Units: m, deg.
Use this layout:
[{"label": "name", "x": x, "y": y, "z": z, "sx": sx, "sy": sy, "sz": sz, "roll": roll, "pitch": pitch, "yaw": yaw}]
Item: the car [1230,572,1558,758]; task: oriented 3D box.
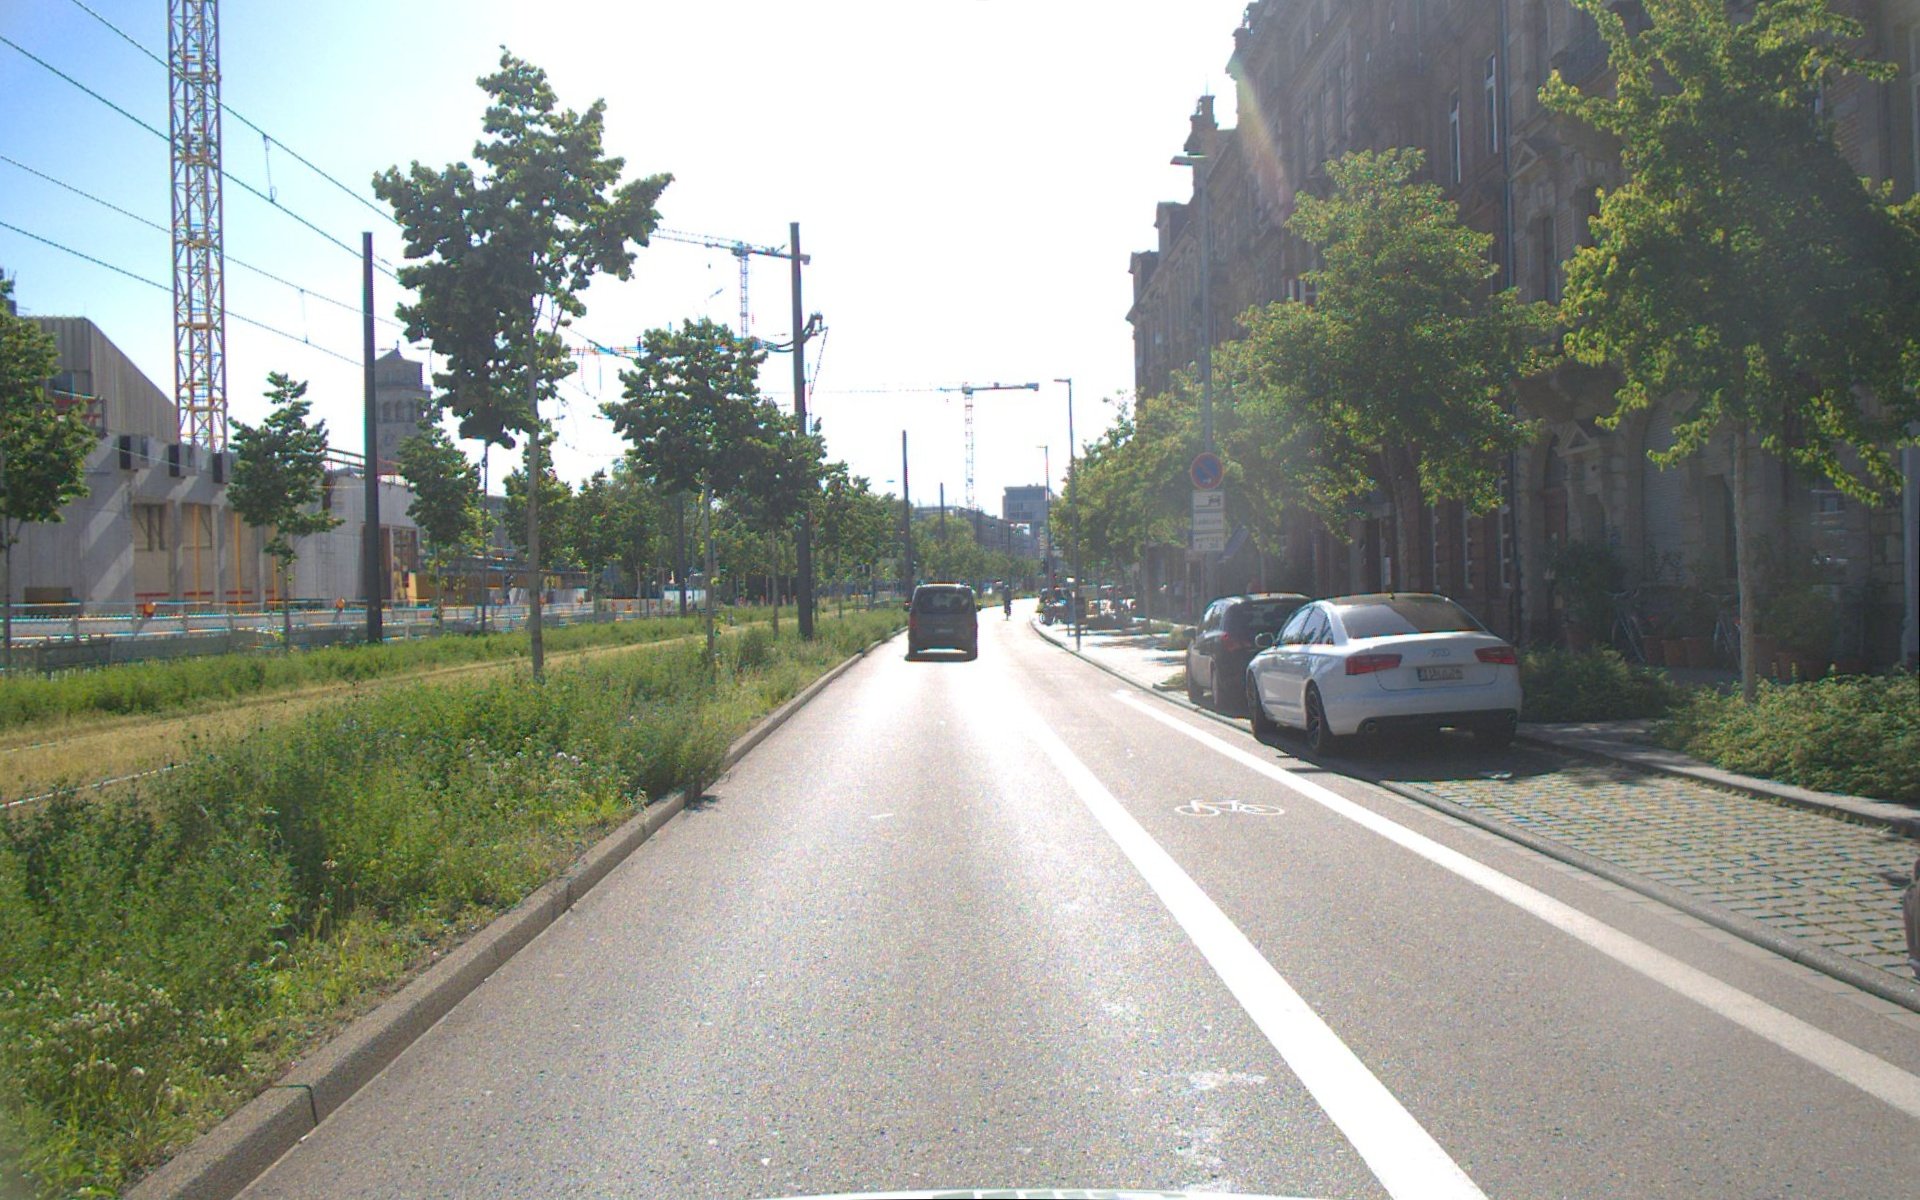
[{"label": "car", "x": 4.216, "y": 0.565, "z": 17.023, "sx": 1.912, "sy": 1.521, "sz": 5.104, "roll": -3, "pitch": 0, "yaw": -1}]

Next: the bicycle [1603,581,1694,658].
[{"label": "bicycle", "x": 10.481, "y": 0.281, "z": 25.250, "sx": 0.471, "sy": 1.109, "sz": 2.056, "roll": -2, "pitch": 0, "yaw": -1}]

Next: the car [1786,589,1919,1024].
[{"label": "car", "x": 4.271, "y": 0.663, "z": 4.315, "sx": 1.731, "sy": 1.502, "sz": 4.445, "roll": -4, "pitch": 0, "yaw": -3}]

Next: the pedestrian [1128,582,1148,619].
[{"label": "pedestrian", "x": 8.725, "y": 0.017, "z": 80.943, "sx": 0.827, "sy": 1.772, "sz": 0.886, "roll": -2, "pitch": -1, "yaw": 0}]

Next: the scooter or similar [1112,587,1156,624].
[{"label": "scooter or similar", "x": 6.402, "y": 0.200, "z": 60.830, "sx": 1.445, "sy": 1.237, "sz": 0.601, "roll": -4, "pitch": 1, "yaw": -5}]

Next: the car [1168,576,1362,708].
[{"label": "car", "x": 4.262, "y": 0.563, "z": 23.759, "sx": 1.846, "sy": 1.597, "sz": 4.219, "roll": -4, "pitch": 0, "yaw": -1}]

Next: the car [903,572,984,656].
[{"label": "car", "x": -0.438, "y": 0.320, "z": 42.550, "sx": 1.953, "sy": 2.049, "sz": 3.999, "roll": 0, "pitch": 0, "yaw": -1}]

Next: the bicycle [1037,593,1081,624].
[{"label": "bicycle", "x": 4.450, "y": 0.379, "z": 74.395, "sx": 1.843, "sy": 1.255, "sz": 0.499, "roll": -4, "pitch": 0, "yaw": -7}]

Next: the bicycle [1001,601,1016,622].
[{"label": "bicycle", "x": 2.636, "y": 0.627, "z": 89.967, "sx": 0.687, "sy": 1.110, "sz": 2.277, "roll": -1, "pitch": 0, "yaw": -1}]

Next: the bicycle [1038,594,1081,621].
[{"label": "bicycle", "x": 4.556, "y": 0.333, "z": 75.932, "sx": 1.790, "sy": 1.097, "sz": 0.664, "roll": -4, "pitch": 0, "yaw": -7}]

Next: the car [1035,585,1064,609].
[{"label": "car", "x": 6.322, "y": -0.207, "z": 116.599, "sx": 1.946, "sy": 1.666, "sz": 4.191, "roll": 0, "pitch": 0, "yaw": 4}]

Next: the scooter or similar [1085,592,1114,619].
[{"label": "scooter or similar", "x": 6.037, "y": 0.238, "z": 71.567, "sx": 1.194, "sy": 1.125, "sz": 0.783, "roll": -3, "pitch": 1, "yaw": 2}]

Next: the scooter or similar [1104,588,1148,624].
[{"label": "scooter or similar", "x": 6.173, "y": 0.207, "z": 61.586, "sx": 1.447, "sy": 1.237, "sz": 0.600, "roll": -4, "pitch": 1, "yaw": -11}]

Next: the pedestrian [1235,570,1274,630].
[{"label": "pedestrian", "x": 8.722, "y": -0.005, "z": 48.950, "sx": 0.976, "sy": 1.762, "sz": 0.866, "roll": 0, "pitch": -1, "yaw": -1}]

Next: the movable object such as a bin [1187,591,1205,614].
[{"label": "movable object such as a bin", "x": 9.918, "y": 0.098, "z": 69.432, "sx": 0.592, "sy": 0.932, "sz": 0.650, "roll": -1, "pitch": 0, "yaw": -5}]

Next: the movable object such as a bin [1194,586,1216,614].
[{"label": "movable object such as a bin", "x": 9.809, "y": -0.008, "z": 66.247, "sx": 0.711, "sy": 1.117, "sz": 0.747, "roll": -1, "pitch": 0, "yaw": -5}]

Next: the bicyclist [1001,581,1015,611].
[{"label": "bicyclist", "x": 2.609, "y": -0.209, "z": 89.955, "sx": 0.669, "sy": 1.612, "sz": 0.839, "roll": -1, "pitch": 0, "yaw": -1}]

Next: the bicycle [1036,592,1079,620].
[{"label": "bicycle", "x": 4.554, "y": 0.298, "z": 77.448, "sx": 1.879, "sy": 1.140, "sz": 0.664, "roll": -5, "pitch": 0, "yaw": -7}]

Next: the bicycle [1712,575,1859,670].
[{"label": "bicycle", "x": 10.403, "y": 0.260, "z": 20.938, "sx": 0.706, "sy": 1.109, "sz": 2.198, "roll": -2, "pitch": 0, "yaw": -1}]

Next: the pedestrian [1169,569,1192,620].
[{"label": "pedestrian", "x": 9.057, "y": -0.235, "z": 67.987, "sx": 0.801, "sy": 2.049, "sz": 1.046, "roll": 0, "pitch": -2, "yaw": -1}]

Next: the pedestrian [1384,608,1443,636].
[{"label": "pedestrian", "x": 10.319, "y": 0.493, "z": 37.728, "sx": 0.757, "sy": 0.562, "sz": 2.007, "roll": -2, "pitch": 1, "yaw": -1}]
